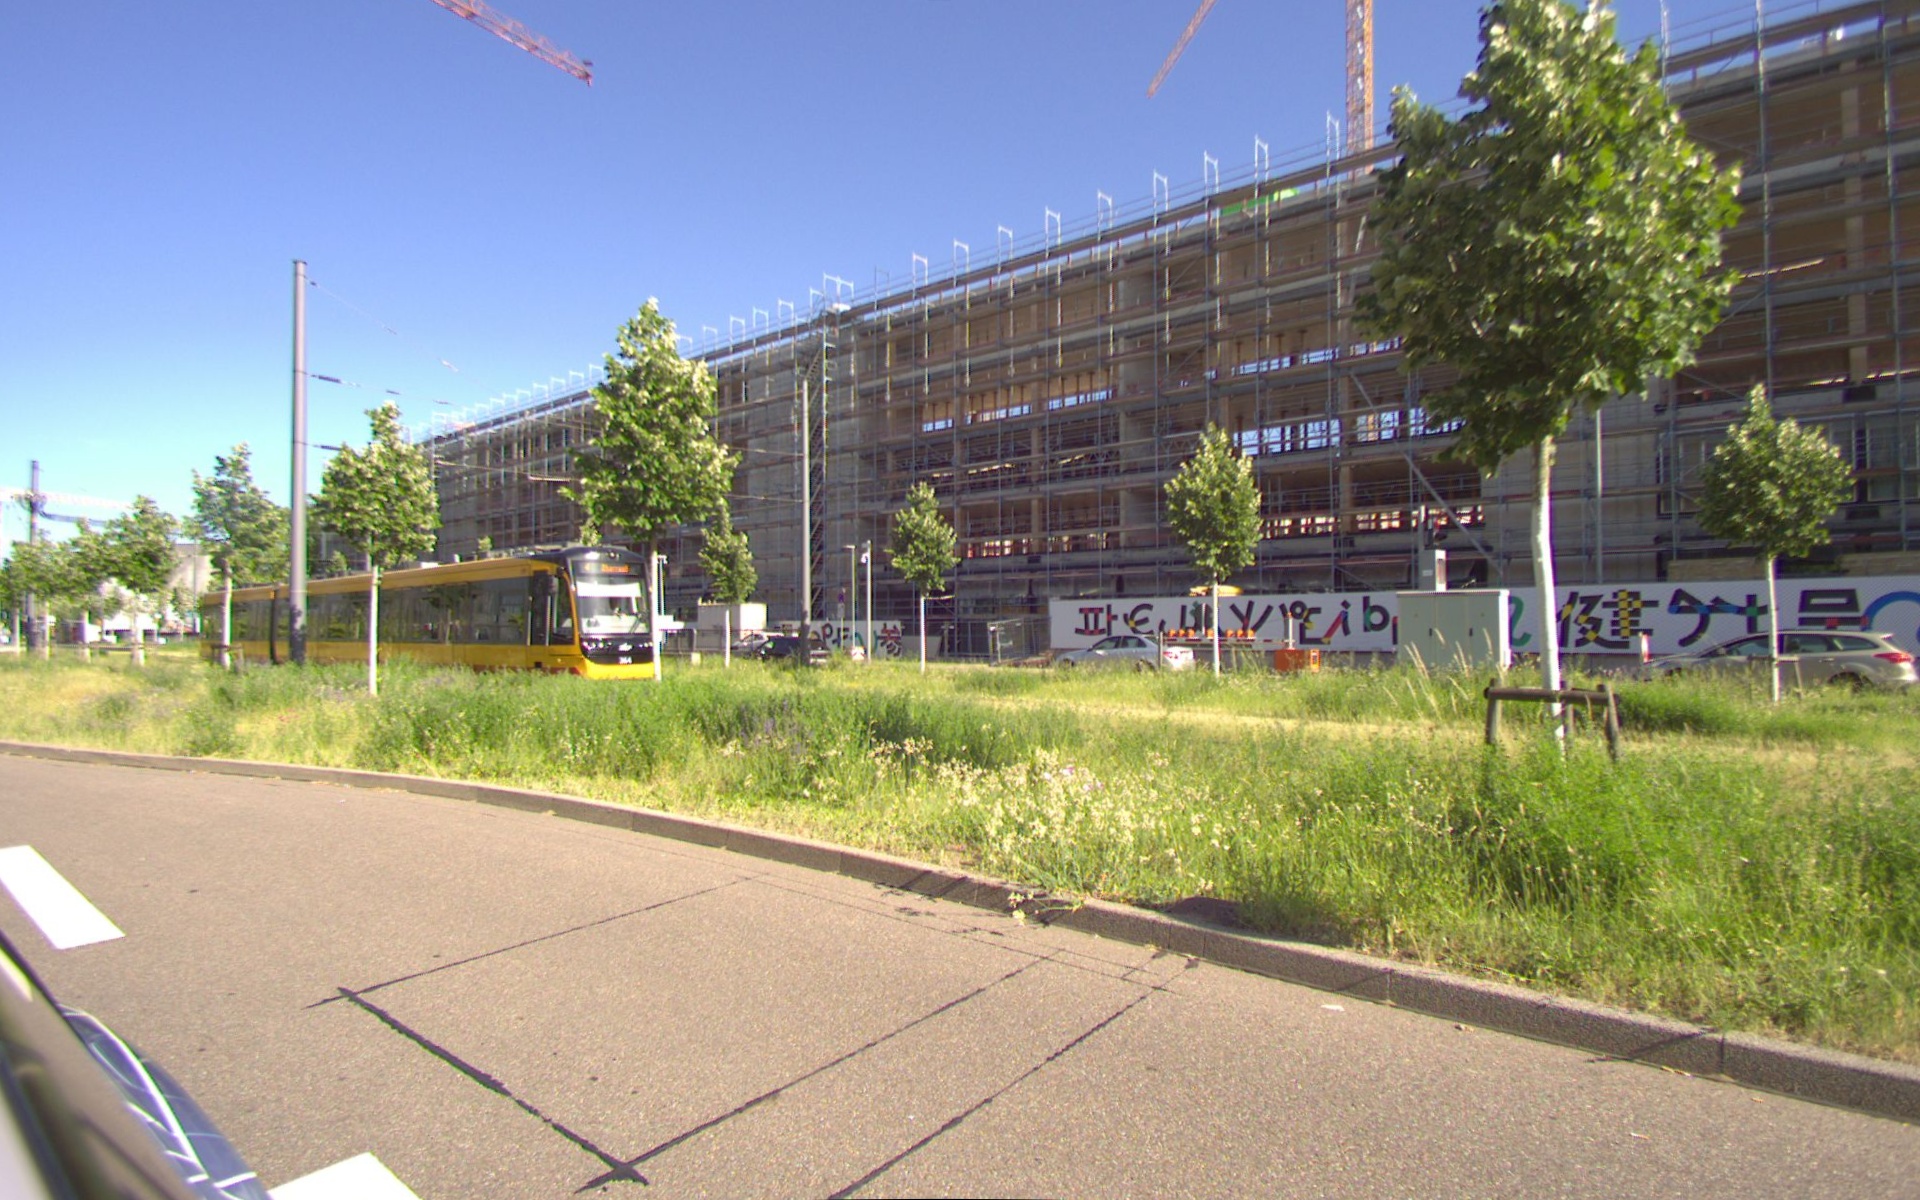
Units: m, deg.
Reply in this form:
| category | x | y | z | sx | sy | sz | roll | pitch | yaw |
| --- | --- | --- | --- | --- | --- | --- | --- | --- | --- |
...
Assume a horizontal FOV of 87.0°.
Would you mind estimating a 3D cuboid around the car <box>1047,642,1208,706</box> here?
| category | x | y | z | sx | sy | sz | roll | pitch | yaw |
| --- | --- | --- | --- | --- | --- | --- | --- | --- | --- |
| car | 5.082 | 2.208 | 31.117 | 4.524 | 1.806 | 1.973 | -2 | -2 | 41 |

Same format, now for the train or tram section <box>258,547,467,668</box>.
| category | x | y | z | sx | sy | sz | roll | pitch | yaw |
| --- | --- | --- | --- | --- | --- | --- | --- | --- | --- |
| train or tram section | -21.621 | 0.391 | 36.052 | 12.787 | 3.666 | 2.785 | -2 | -3 | 42 |

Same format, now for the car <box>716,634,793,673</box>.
| category | x | y | z | sx | sy | sz | roll | pitch | yaw |
| --- | --- | --- | --- | --- | --- | --- | --- | --- | --- |
| car | -10.768 | 2.775 | 52.858 | 3.981 | 1.933 | 1.890 | -2 | -2 | 39 |

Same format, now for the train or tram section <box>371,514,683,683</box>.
| category | x | y | z | sx | sy | sz | roll | pitch | yaw |
| --- | --- | --- | --- | --- | --- | --- | --- | --- | --- |
| train or tram section | -12.223 | 0.137 | 27.377 | 12.788 | 3.666 | 2.785 | -2 | -3 | 43 |

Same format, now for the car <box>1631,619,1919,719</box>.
| category | x | y | z | sx | sy | sz | roll | pitch | yaw |
| --- | --- | --- | --- | --- | --- | --- | --- | --- | --- |
| car | 16.434 | 1.313 | 20.464 | 4.526 | 1.806 | 1.972 | -2 | -3 | 42 |

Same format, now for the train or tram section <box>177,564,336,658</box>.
| category | x | y | z | sx | sy | sz | roll | pitch | yaw |
| --- | --- | --- | --- | --- | --- | --- | --- | --- | --- |
| train or tram section | -31.214 | 0.598 | 44.522 | 12.784 | 3.666 | 2.786 | -2 | -3 | 42 |

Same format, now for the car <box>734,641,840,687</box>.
| category | x | y | z | sx | sy | sz | roll | pitch | yaw |
| --- | --- | --- | --- | --- | --- | --- | --- | --- | --- |
| car | -7.228 | 2.613 | 42.048 | 4.525 | 1.806 | 1.972 | -2 | -3 | 42 |
